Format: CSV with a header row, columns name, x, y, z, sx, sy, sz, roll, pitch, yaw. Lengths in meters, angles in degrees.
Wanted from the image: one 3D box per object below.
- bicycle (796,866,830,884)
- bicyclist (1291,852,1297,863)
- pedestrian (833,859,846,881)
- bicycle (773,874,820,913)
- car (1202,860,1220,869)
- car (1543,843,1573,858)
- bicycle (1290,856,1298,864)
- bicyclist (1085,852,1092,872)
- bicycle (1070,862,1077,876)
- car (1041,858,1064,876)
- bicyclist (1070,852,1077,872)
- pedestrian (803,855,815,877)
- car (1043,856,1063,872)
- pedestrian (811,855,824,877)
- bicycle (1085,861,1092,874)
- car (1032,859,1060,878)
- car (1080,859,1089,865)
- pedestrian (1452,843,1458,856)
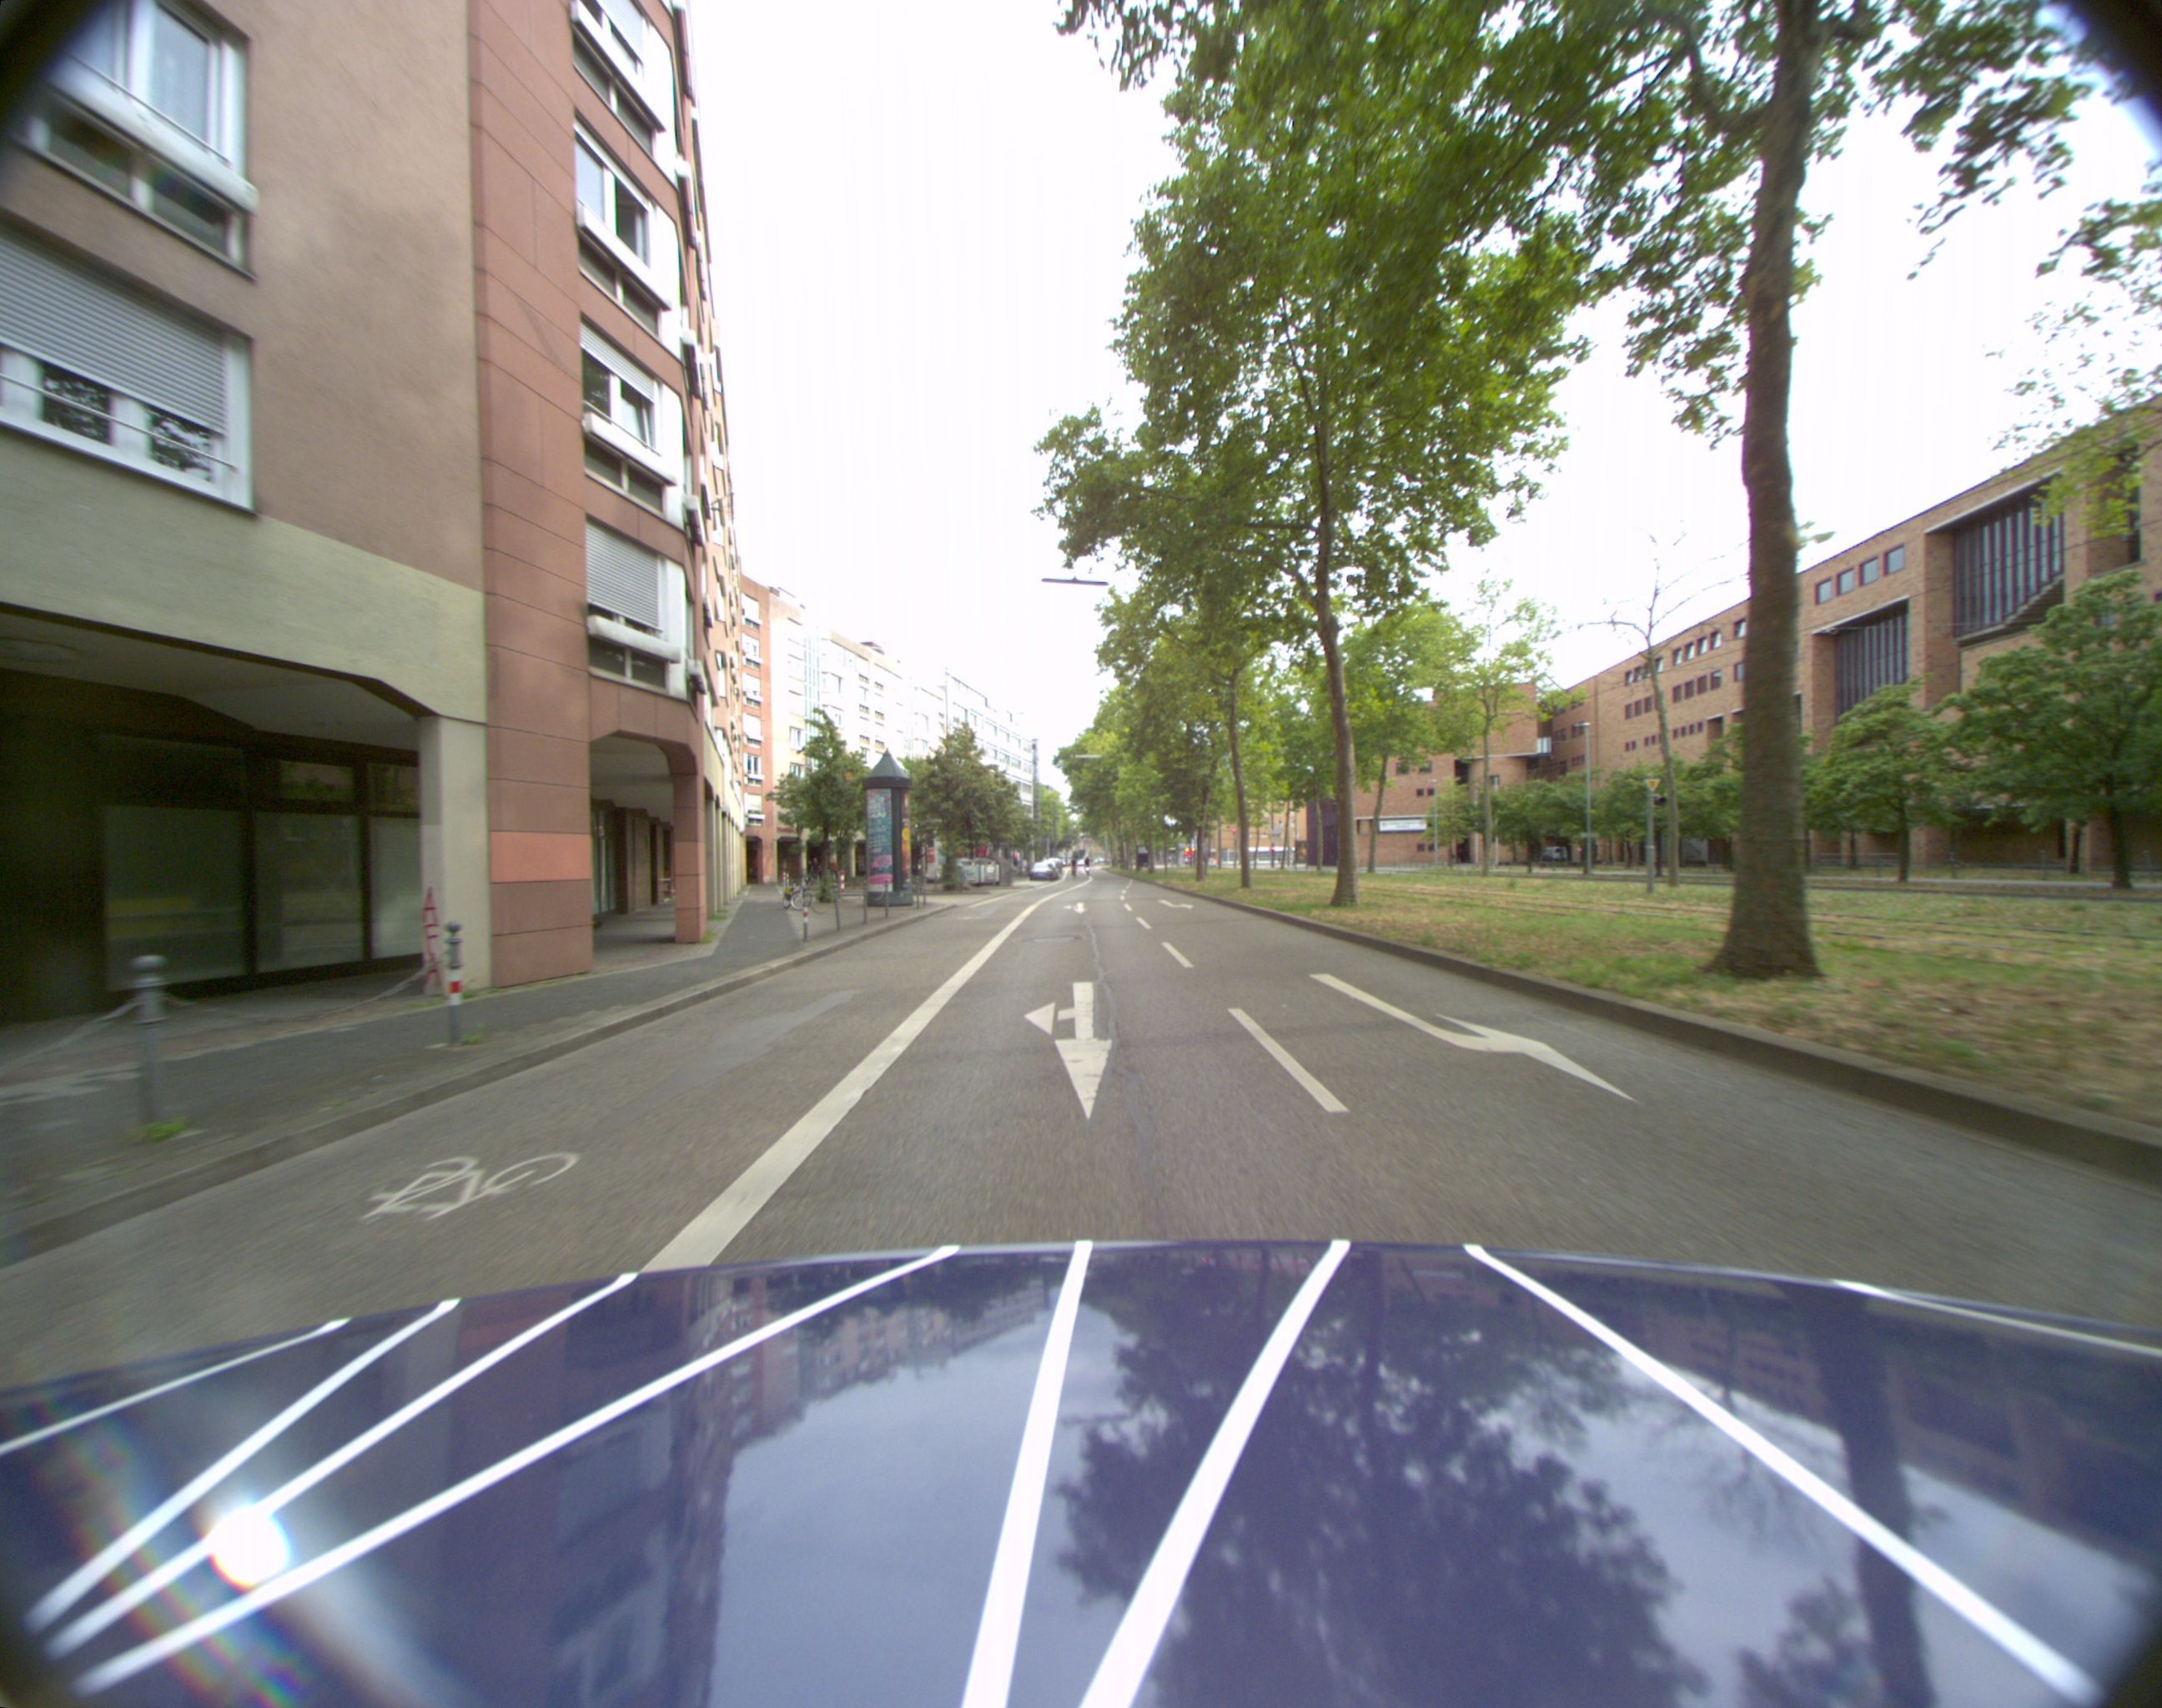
name,x,y,z,sx,sy,sz,roll,pitch,yaw
bicycle,-17.355,1.329,49.201,1.968,1.106,0.595,-1,0,-45
bicyclist,31.929,0.510,114.055,0.665,1.581,0.984,-1,0,3
pedestrian,-18.643,1.208,58.645,0.534,1.653,0.852,-1,0,12
bicycle,-8.964,1.217,23.901,1.660,1.122,0.672,0,1,41
car,20.301,1.589,118.712,1.788,1.413,4.658,-1,0,-1
car,59.017,-0.433,94.080,1.896,1.797,4.004,-1,0,11
bicycle,31.940,0.882,114.070,0.669,1.078,2.094,-1,0,3
bicyclist,0.656,0.684,67.848,0.591,1.760,1.035,0,0,0
bicycle,-0.626,1.265,65.296,0.595,1.132,2.091,0,0,0
car,-2.476,1.150,67.359,1.744,1.510,4.401,0,0,1
bicyclist,-0.624,0.673,65.335,0.591,1.757,1.035,0,0,0
pedestrian,-20.583,0.915,57.474,0.606,1.653,0.682,-1,0,10
car,-3.003,1.093,82.841,1.865,1.643,4.164,0,0,3
pedestrian,-19.909,0.895,57.397,0.606,1.653,0.682,-1,0,10
bicycle,0.658,1.158,67.785,0.595,1.132,1.858,0,0,0
car,-2.794,1.150,61.218,1.821,1.434,4.667,0,0,2
car,0.810,1.906,188.107,1.845,1.369,3.835,-1,-1,5
pedestrian,43.649,-0.506,88.571,0.508,1.523,0.521,-1,0,15
